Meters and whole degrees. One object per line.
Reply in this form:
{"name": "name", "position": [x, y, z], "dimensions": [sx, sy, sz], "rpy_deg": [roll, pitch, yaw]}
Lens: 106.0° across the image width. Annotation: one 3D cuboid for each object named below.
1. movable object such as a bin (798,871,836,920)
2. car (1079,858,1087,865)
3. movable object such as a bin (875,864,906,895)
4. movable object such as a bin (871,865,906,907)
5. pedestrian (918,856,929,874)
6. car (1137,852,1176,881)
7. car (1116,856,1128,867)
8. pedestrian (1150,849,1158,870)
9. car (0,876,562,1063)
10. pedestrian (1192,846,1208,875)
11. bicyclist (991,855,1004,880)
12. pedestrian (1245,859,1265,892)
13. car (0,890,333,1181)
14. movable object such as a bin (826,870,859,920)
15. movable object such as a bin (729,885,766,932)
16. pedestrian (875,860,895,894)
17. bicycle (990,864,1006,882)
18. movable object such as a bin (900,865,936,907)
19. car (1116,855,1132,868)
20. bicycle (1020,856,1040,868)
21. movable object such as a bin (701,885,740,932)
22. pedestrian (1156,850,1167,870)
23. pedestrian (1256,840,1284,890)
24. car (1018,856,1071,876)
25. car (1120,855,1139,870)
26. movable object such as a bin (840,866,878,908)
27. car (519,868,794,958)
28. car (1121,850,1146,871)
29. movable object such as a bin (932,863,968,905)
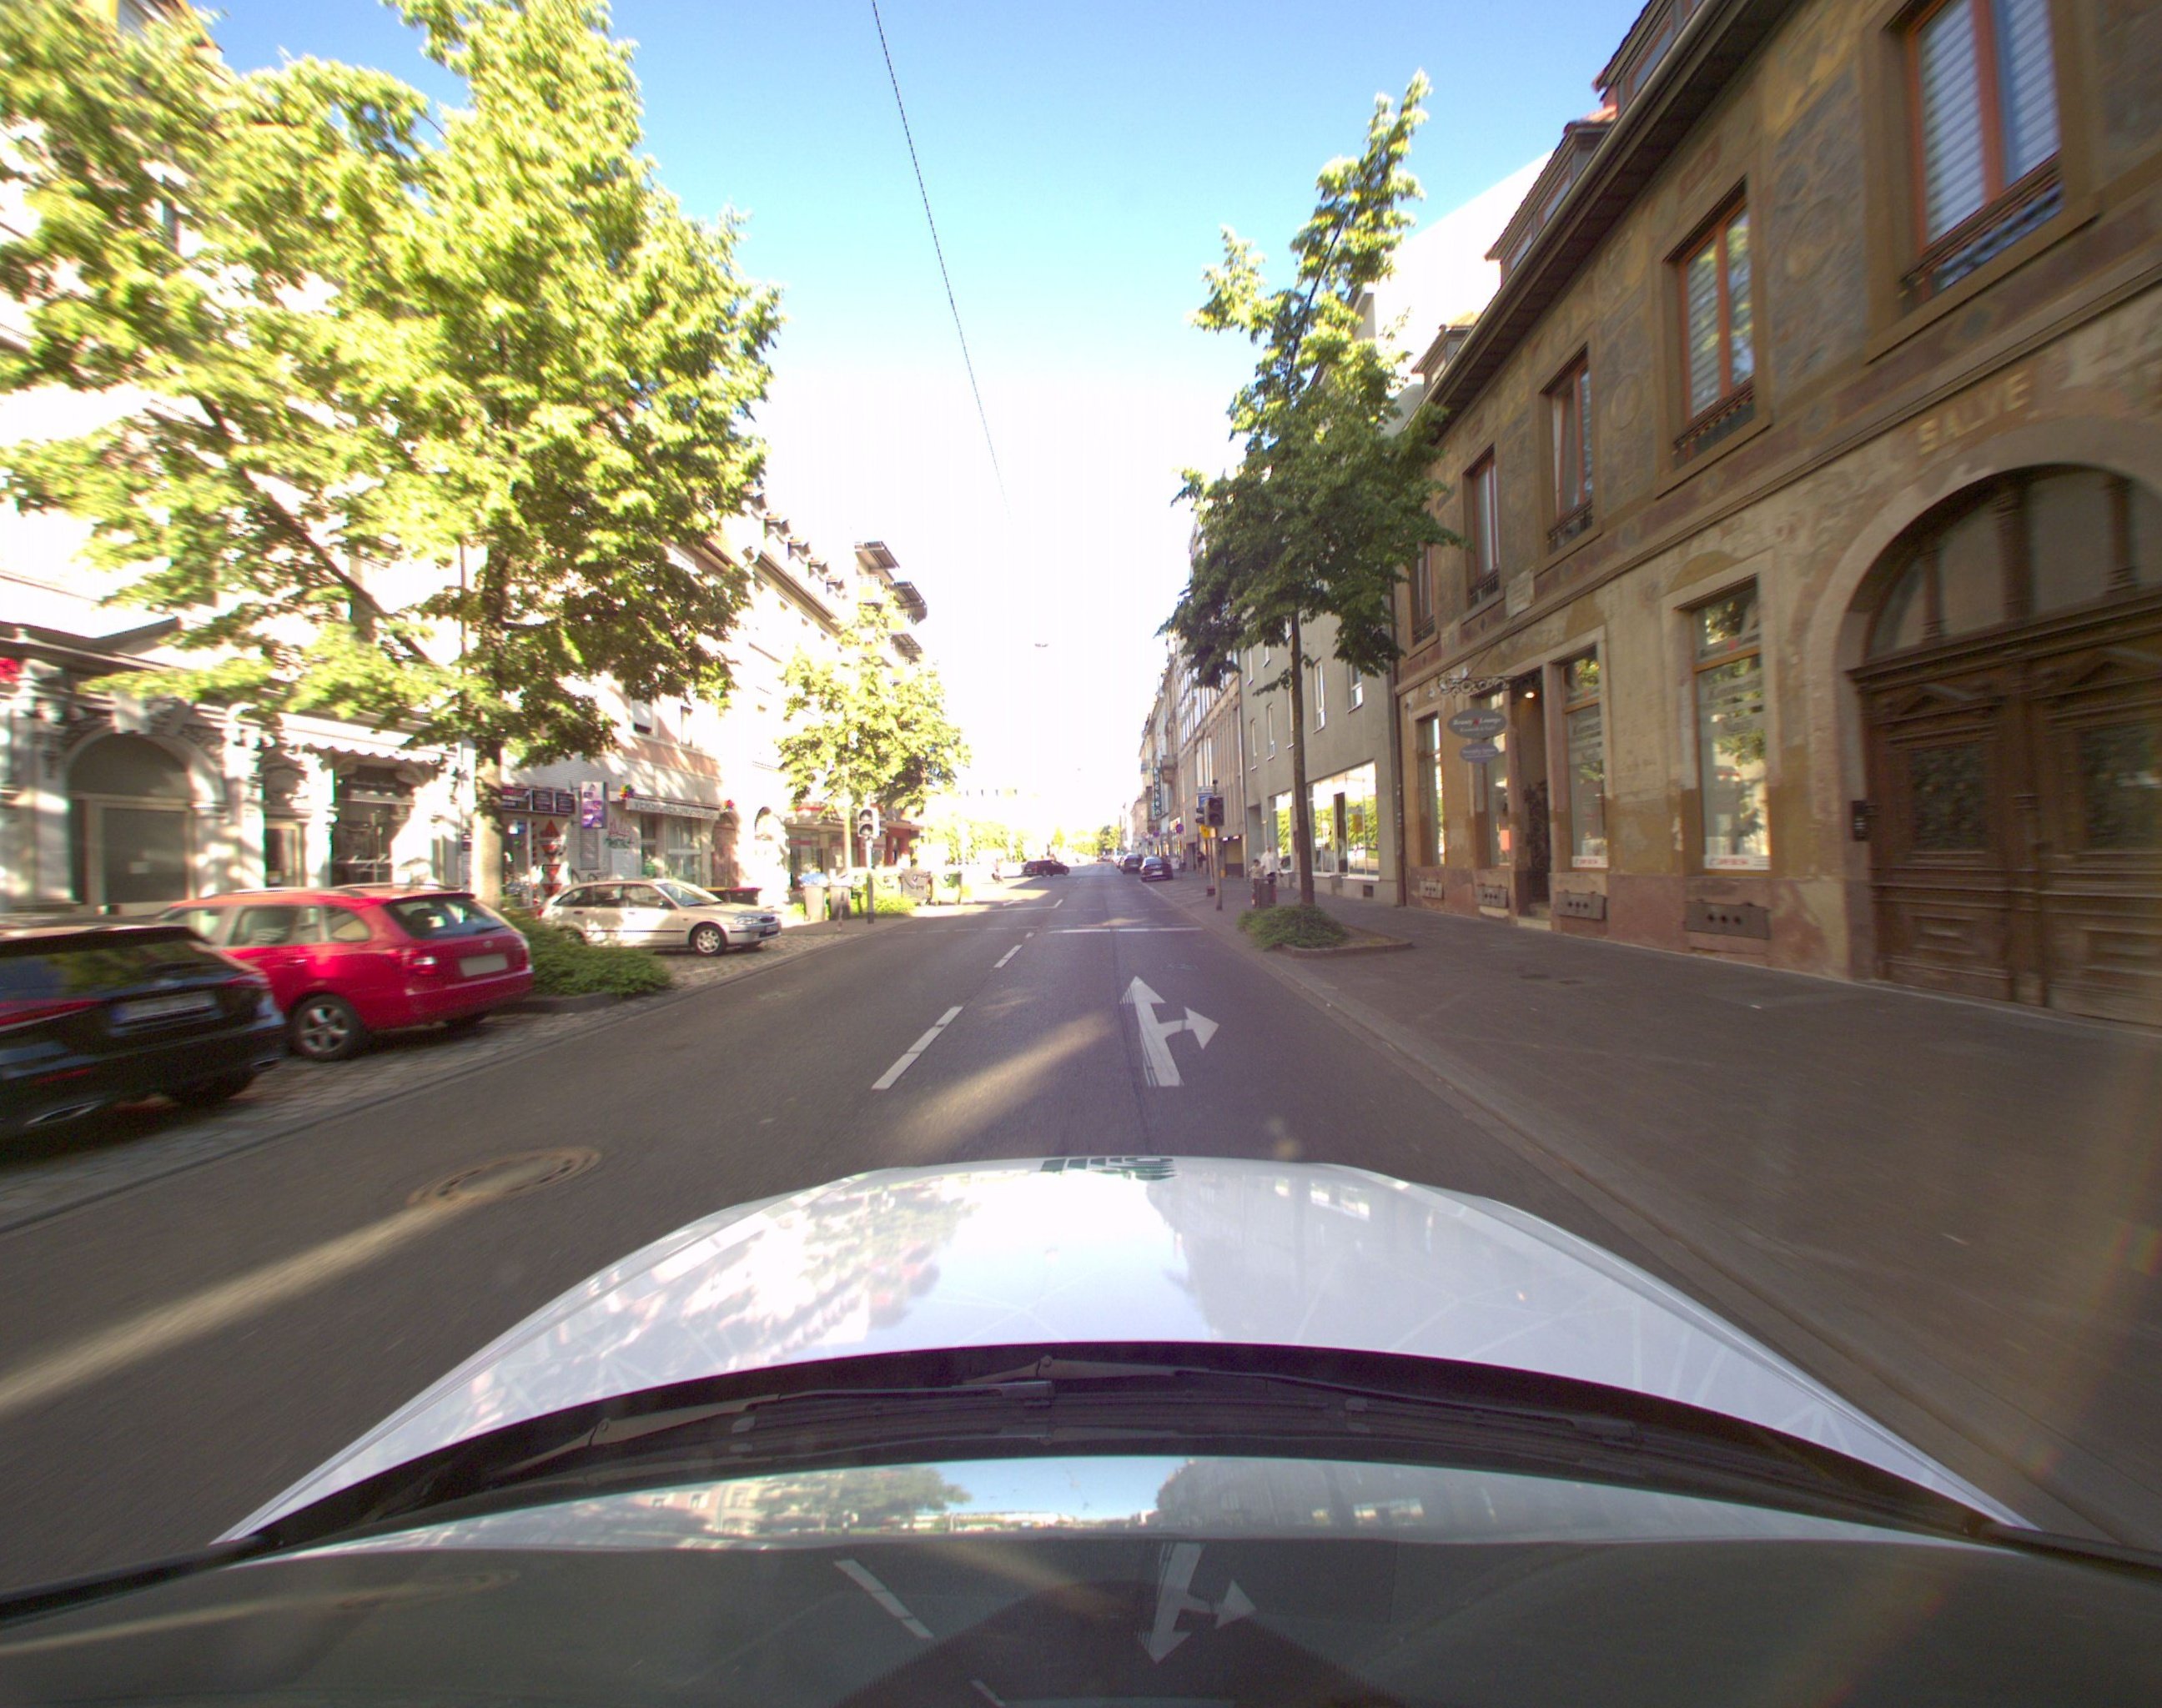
{"name": "movable object such as a bin", "position": [-7.533, 1.169, 23.238], "dimensions": [0.752, 1.341, 0.805], "rpy_deg": [-2, 0, 0]}
{"name": "car", "position": [0.644, 2.120, 220.232], "dimensions": [1.985, 1.772, 4.003], "rpy_deg": [-1, 0, 3]}
{"name": "movable object such as a bin", "position": [-8.804, 1.186, 37.641], "dimensions": [1.038, 1.345, 1.314], "rpy_deg": [-3, 0, 0]}
{"name": "movable object such as a bin", "position": [-7.086, 1.183, 30.036], "dimensions": [0.960, 1.471, 1.143], "rpy_deg": [-2, -1, 0]}
{"name": "pedestrian", "position": [-18.569, 1.266, 95.987], "dimensions": [0.725, 2.108, 0.973], "rpy_deg": [-2, -1, 24]}
{"name": "car", "position": [4.475, 0.727, 49.092], "dimensions": [1.910, 1.478, 4.966], "rpy_deg": [-6, 0, 2]}
{"name": "car", "position": [6.154, 1.124, 122.115], "dimensions": [1.785, 1.460, 3.869], "rpy_deg": [-1, -1, 2]}
{"name": "pedestrian", "position": [6.364, 0.474, 70.917], "dimensions": [0.617, 1.766, 0.519], "rpy_deg": [-2, -1, 4]}
{"name": "car", "position": [-7.474, 1.018, 7.883], "dimensions": [3.735, 1.468, 1.740], "rpy_deg": [-1, 0, 0]}
{"name": "pedestrian", "position": [6.976, 0.379, 47.804], "dimensions": [0.689, 1.635, 0.889], "rpy_deg": [-4, 0, 1]}
{"name": "bicyclist", "position": [-5.731, 0.912, 56.045], "dimensions": [0.693, 1.653, 1.037], "rpy_deg": [-3, 0, 4]}
{"name": "pedestrian", "position": [5.677, 0.682, 26.573], "dimensions": [0.392, 1.033, 0.739], "rpy_deg": [-5, -1, 0]}
{"name": "car", "position": [-7.493, 1.029, 5.191], "dimensions": [3.825, 1.429, 1.791], "rpy_deg": [-1, 0, 2]}
{"name": "movable object such as a bin", "position": [-6.806, 1.156, 23.248], "dimensions": [0.632, 1.341, 0.805], "rpy_deg": [-2, 0, 0]}
{"name": "movable object such as a bin", "position": [-8.027, 1.295, 19.622], "dimensions": [0.529, 1.069, 0.805], "rpy_deg": [-2, 0, 0]}
{"name": "pedestrian", "position": [-9.691, 1.118, 40.261], "dimensions": [0.662, 1.659, 1.037], "rpy_deg": [-2, 0, 1]}
{"name": "bicycle", "position": [-5.709, 1.325, 56.207], "dimensions": [0.702, 1.146, 1.970], "rpy_deg": [-3, 0, 4]}
{"name": "movable object such as a bin", "position": [-5.983, 1.152, 29.954], "dimensions": [1.038, 1.471, 1.143], "rpy_deg": [-3, 0, 0]}
{"name": "car", "position": [5.525, 0.978, 104.876], "dimensions": [1.711, 1.636, 4.083], "rpy_deg": [-1, -1, 0]}
{"name": "bicycle", "position": [-8.313, 1.306, 133.793], "dimensions": [3.101, 2.013, 0.911], "rpy_deg": [-2, 0, 10]}
{"name": "movable object such as a bin", "position": [-8.653, 1.296, 19.591], "dimensions": [0.529, 1.069, 0.805], "rpy_deg": [-2, 0, 0]}
{"name": "pedestrian", "position": [6.995, 0.513, 70.879], "dimensions": [0.797, 1.675, 0.590], "rpy_deg": [-4, -1, 4]}
{"name": "pedestrian", "position": [6.228, 0.362, 26.904], "dimensions": [0.578, 1.559, 1.020], "rpy_deg": [-5, -1, 0]}
{"name": "car", "position": [-3.019, 0.977, 68.029], "dimensions": [1.916, 1.487, 4.297], "rpy_deg": [-2, 0, 42]}
{"name": "car", "position": [5.076, 0.908, 85.998], "dimensions": [1.832, 1.546, 4.229], "rpy_deg": [-1, 0, 1]}
{"name": "movable object such as a bin", "position": [-8.175, 1.191, 30.044], "dimensions": [1.038, 1.471, 1.143], "rpy_deg": [-3, 0, 0]}
{"name": "car", "position": [-7.790, 1.055, 15.192], "dimensions": [4.185, 1.468, 1.741], "rpy_deg": [-1, 0, 3]}
{"name": "car", "position": [4.382, 0.511, 68.582], "dimensions": [1.966, 1.725, 4.826], "rpy_deg": [-1, 0, 2]}
{"name": "movable object such as a bin", "position": [-4.838, 1.099, 30.130], "dimensions": [1.038, 1.471, 1.452], "rpy_deg": [-3, 0, 0]}
